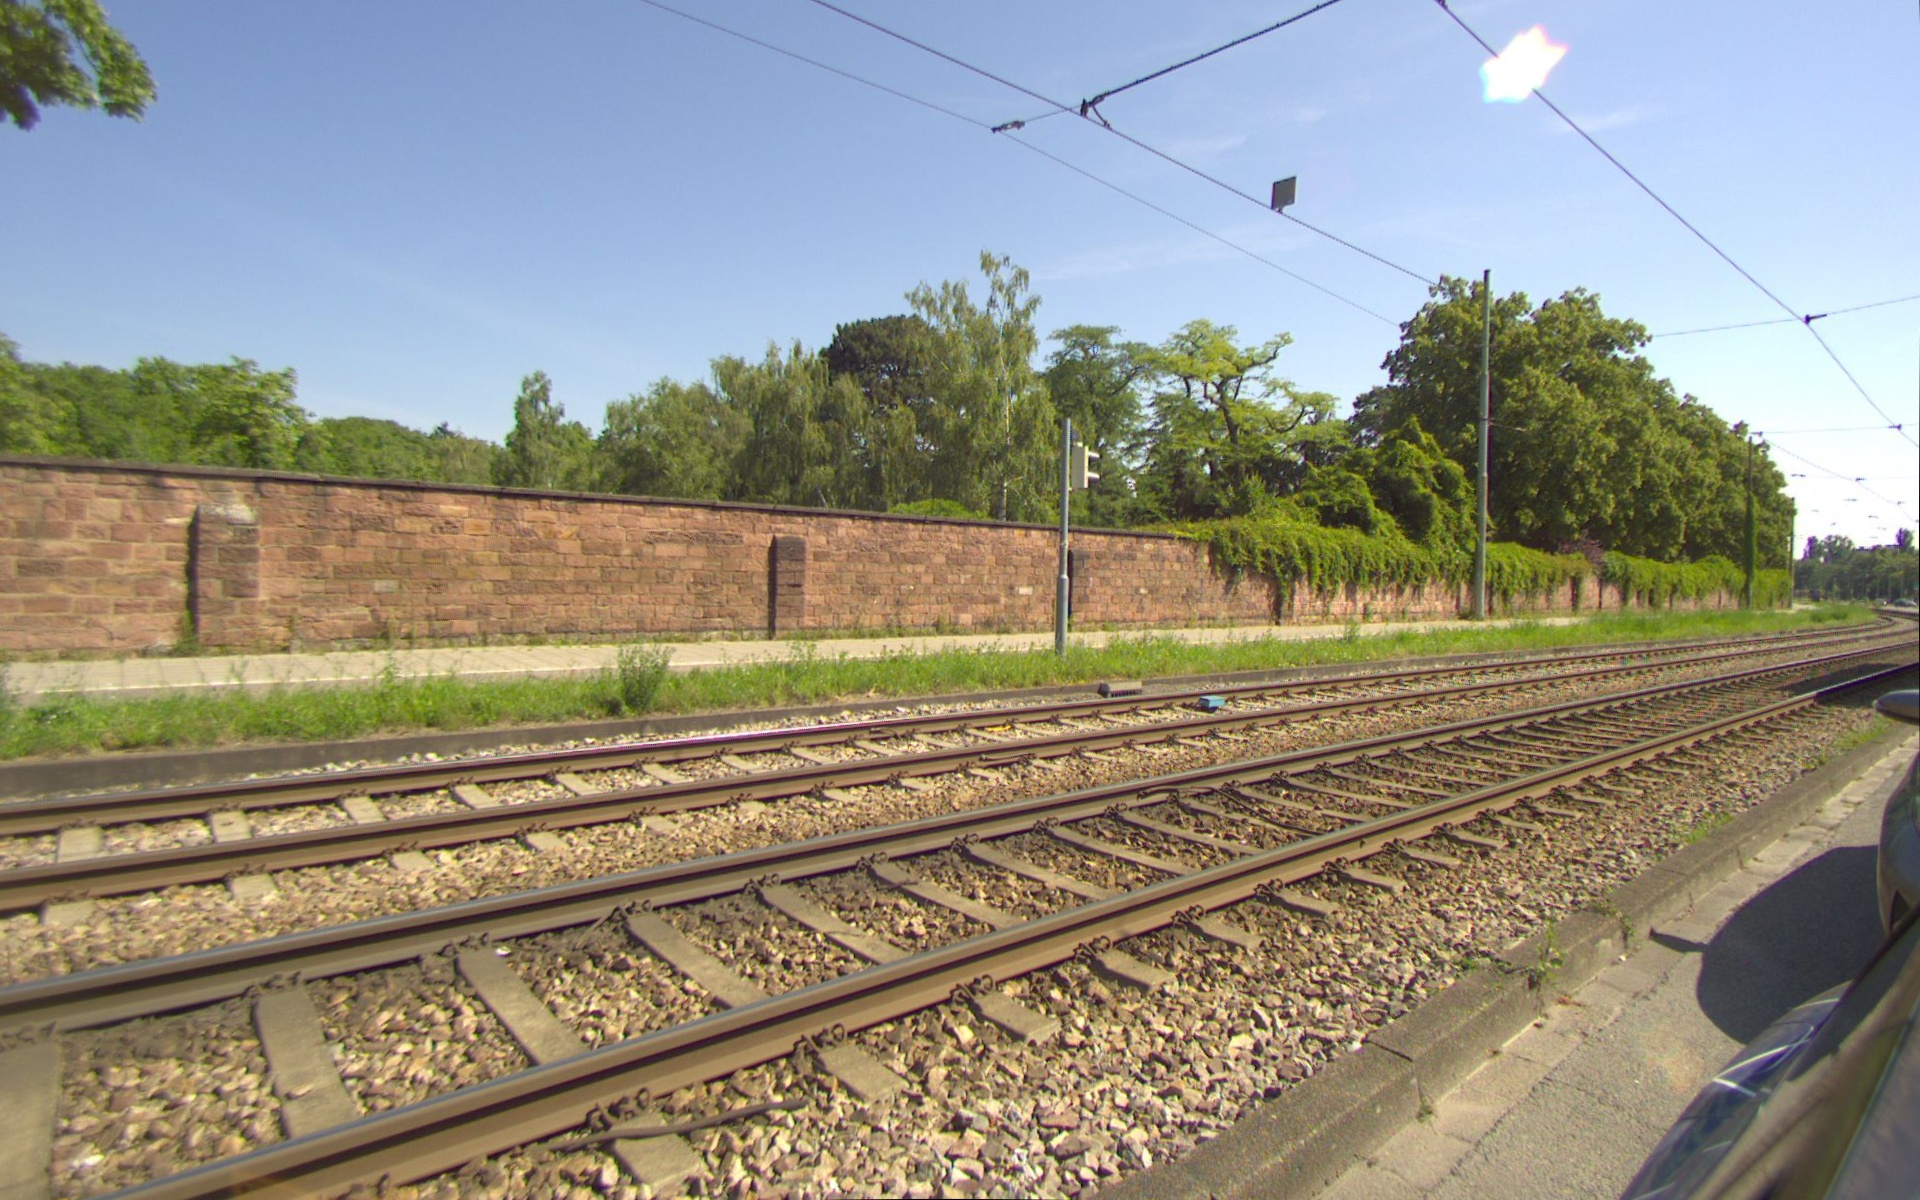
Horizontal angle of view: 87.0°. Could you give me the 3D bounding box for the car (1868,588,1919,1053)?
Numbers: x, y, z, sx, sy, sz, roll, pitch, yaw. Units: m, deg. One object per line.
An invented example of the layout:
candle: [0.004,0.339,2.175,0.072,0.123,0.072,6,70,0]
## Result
car: [5.348,0.697,4.204,4.953,1.448,1.746,0,1,-41]
